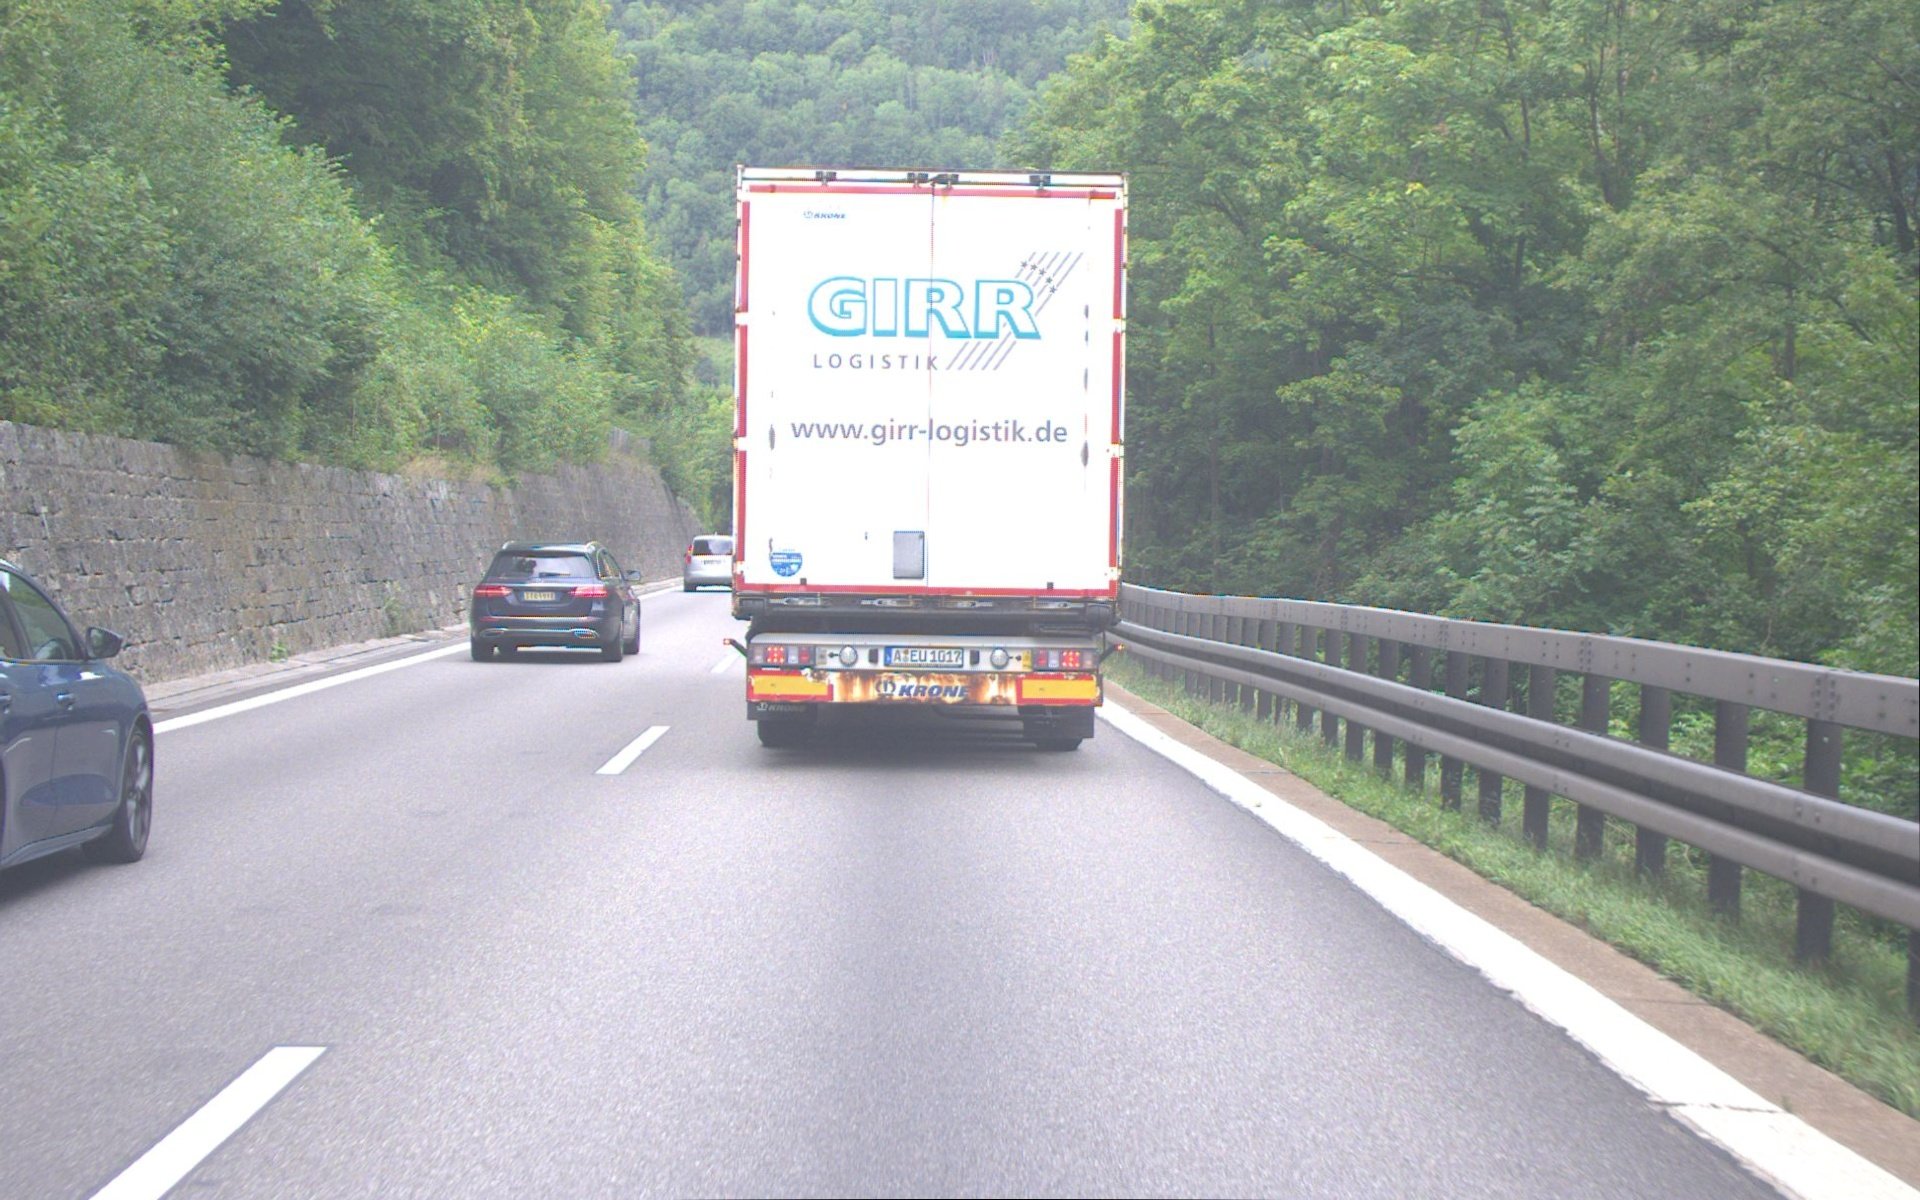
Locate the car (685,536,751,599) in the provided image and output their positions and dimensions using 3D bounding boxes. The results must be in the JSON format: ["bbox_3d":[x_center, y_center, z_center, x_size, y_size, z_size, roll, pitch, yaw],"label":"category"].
[{"bbox_3d":[-6.909,-0.933,98.423,1.634,1.720,4.345,2,1,-1],"label":"car"}]

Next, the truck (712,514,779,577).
[{"bbox_3d":[-8.279,-2.117,133.210,2.349,2.266,6.850,3,1,-3],"label":"truck"}]

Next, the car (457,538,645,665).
[{"bbox_3d":[-5.112,-0.023,43.570,1.760,1.458,5.123,1,1,0],"label":"car"}]

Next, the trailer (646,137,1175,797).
[{"bbox_3d":[-0.531,-0.972,26.875,3.133,4.029,9.441,4,1,-3],"label":"trailer"}]

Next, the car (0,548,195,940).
[{"bbox_3d":[-4.553,0.513,14.259,1.836,1.464,4.556,1,1,-2],"label":"car"}]

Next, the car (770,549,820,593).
[{"bbox_3d":[-7.810,-1.387,163.058,2.018,1.907,5.563,3,1,0],"label":"car"}]
